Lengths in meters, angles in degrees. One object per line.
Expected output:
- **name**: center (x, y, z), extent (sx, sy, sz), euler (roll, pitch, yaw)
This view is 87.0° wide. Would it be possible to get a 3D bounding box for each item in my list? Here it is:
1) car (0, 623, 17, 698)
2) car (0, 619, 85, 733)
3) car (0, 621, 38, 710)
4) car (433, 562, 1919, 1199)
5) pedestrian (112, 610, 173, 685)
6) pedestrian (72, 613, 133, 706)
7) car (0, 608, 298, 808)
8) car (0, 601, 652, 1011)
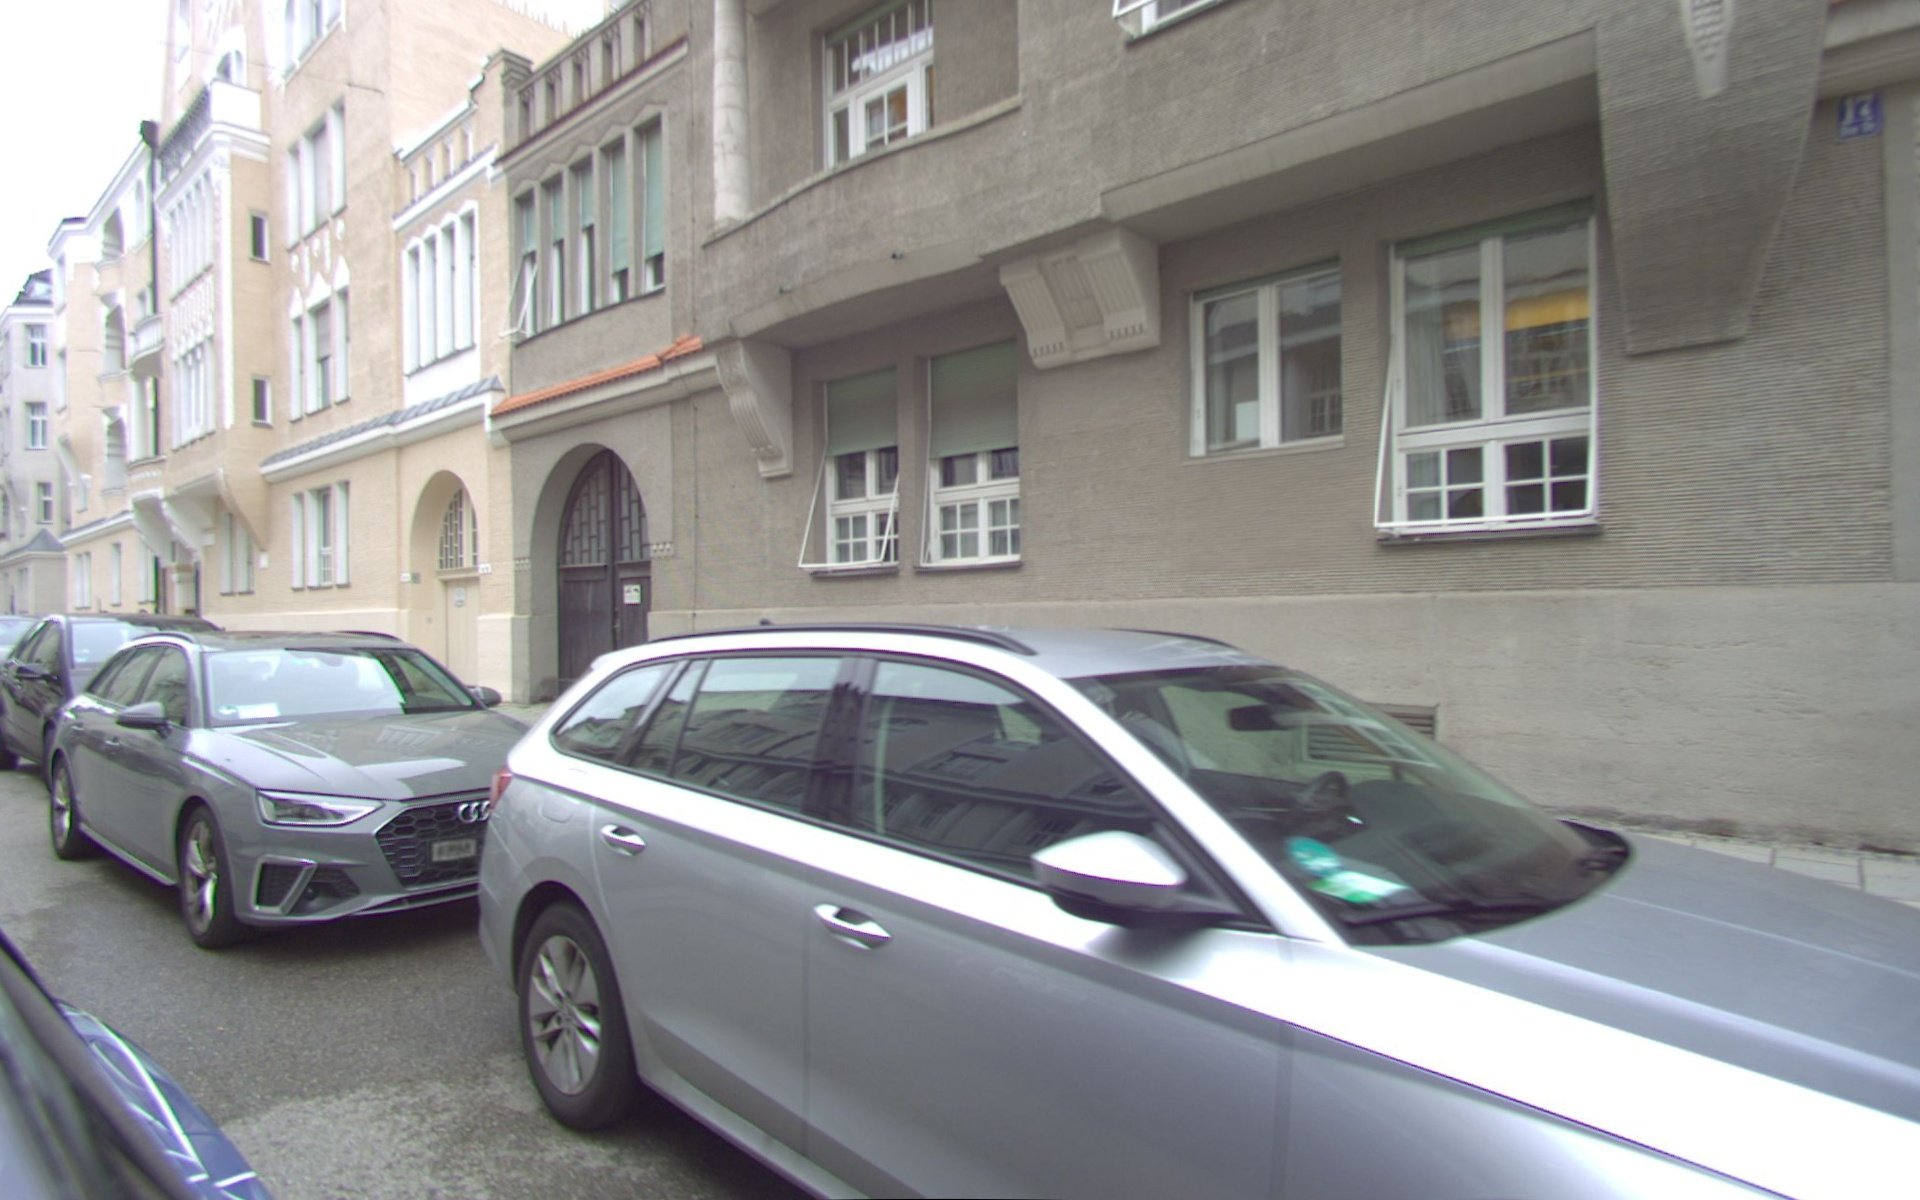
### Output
- **car**: center (-23.416, 1.392, 23.432), extent (4.457, 1.661, 1.853), euler (-2, -1, 41)
- **car**: center (-15.724, 1.161, 16.424), extent (4.619, 1.671, 1.929), euler (-2, -2, 45)
- **car**: center (-19.815, 1.283, 20.113), extent (4.099, 1.655, 1.714), euler (-2, -1, 41)
- **car**: center (0.479, 0.744, 2.566), extent (4.438, 1.442, 1.786), euler (-2, -3, 42)
- **pedestrian**: center (-19.719, 1.118, 24.423), extent (0.939, 1.742, 0.982), euler (-2, -1, 40)
- **pedestrian**: center (-17.233, 1.181, 20.332), extent (0.740, 1.803, 0.827), euler (-2, -1, 40)
- **car**: center (-8.307, 0.917, 9.996), extent (3.807, 1.584, 1.786), euler (-2, -1, 37)
- **car**: center (-3.951, 0.824, 5.929), extent (4.601, 1.525, 1.819), euler (-2, -2, 38)
